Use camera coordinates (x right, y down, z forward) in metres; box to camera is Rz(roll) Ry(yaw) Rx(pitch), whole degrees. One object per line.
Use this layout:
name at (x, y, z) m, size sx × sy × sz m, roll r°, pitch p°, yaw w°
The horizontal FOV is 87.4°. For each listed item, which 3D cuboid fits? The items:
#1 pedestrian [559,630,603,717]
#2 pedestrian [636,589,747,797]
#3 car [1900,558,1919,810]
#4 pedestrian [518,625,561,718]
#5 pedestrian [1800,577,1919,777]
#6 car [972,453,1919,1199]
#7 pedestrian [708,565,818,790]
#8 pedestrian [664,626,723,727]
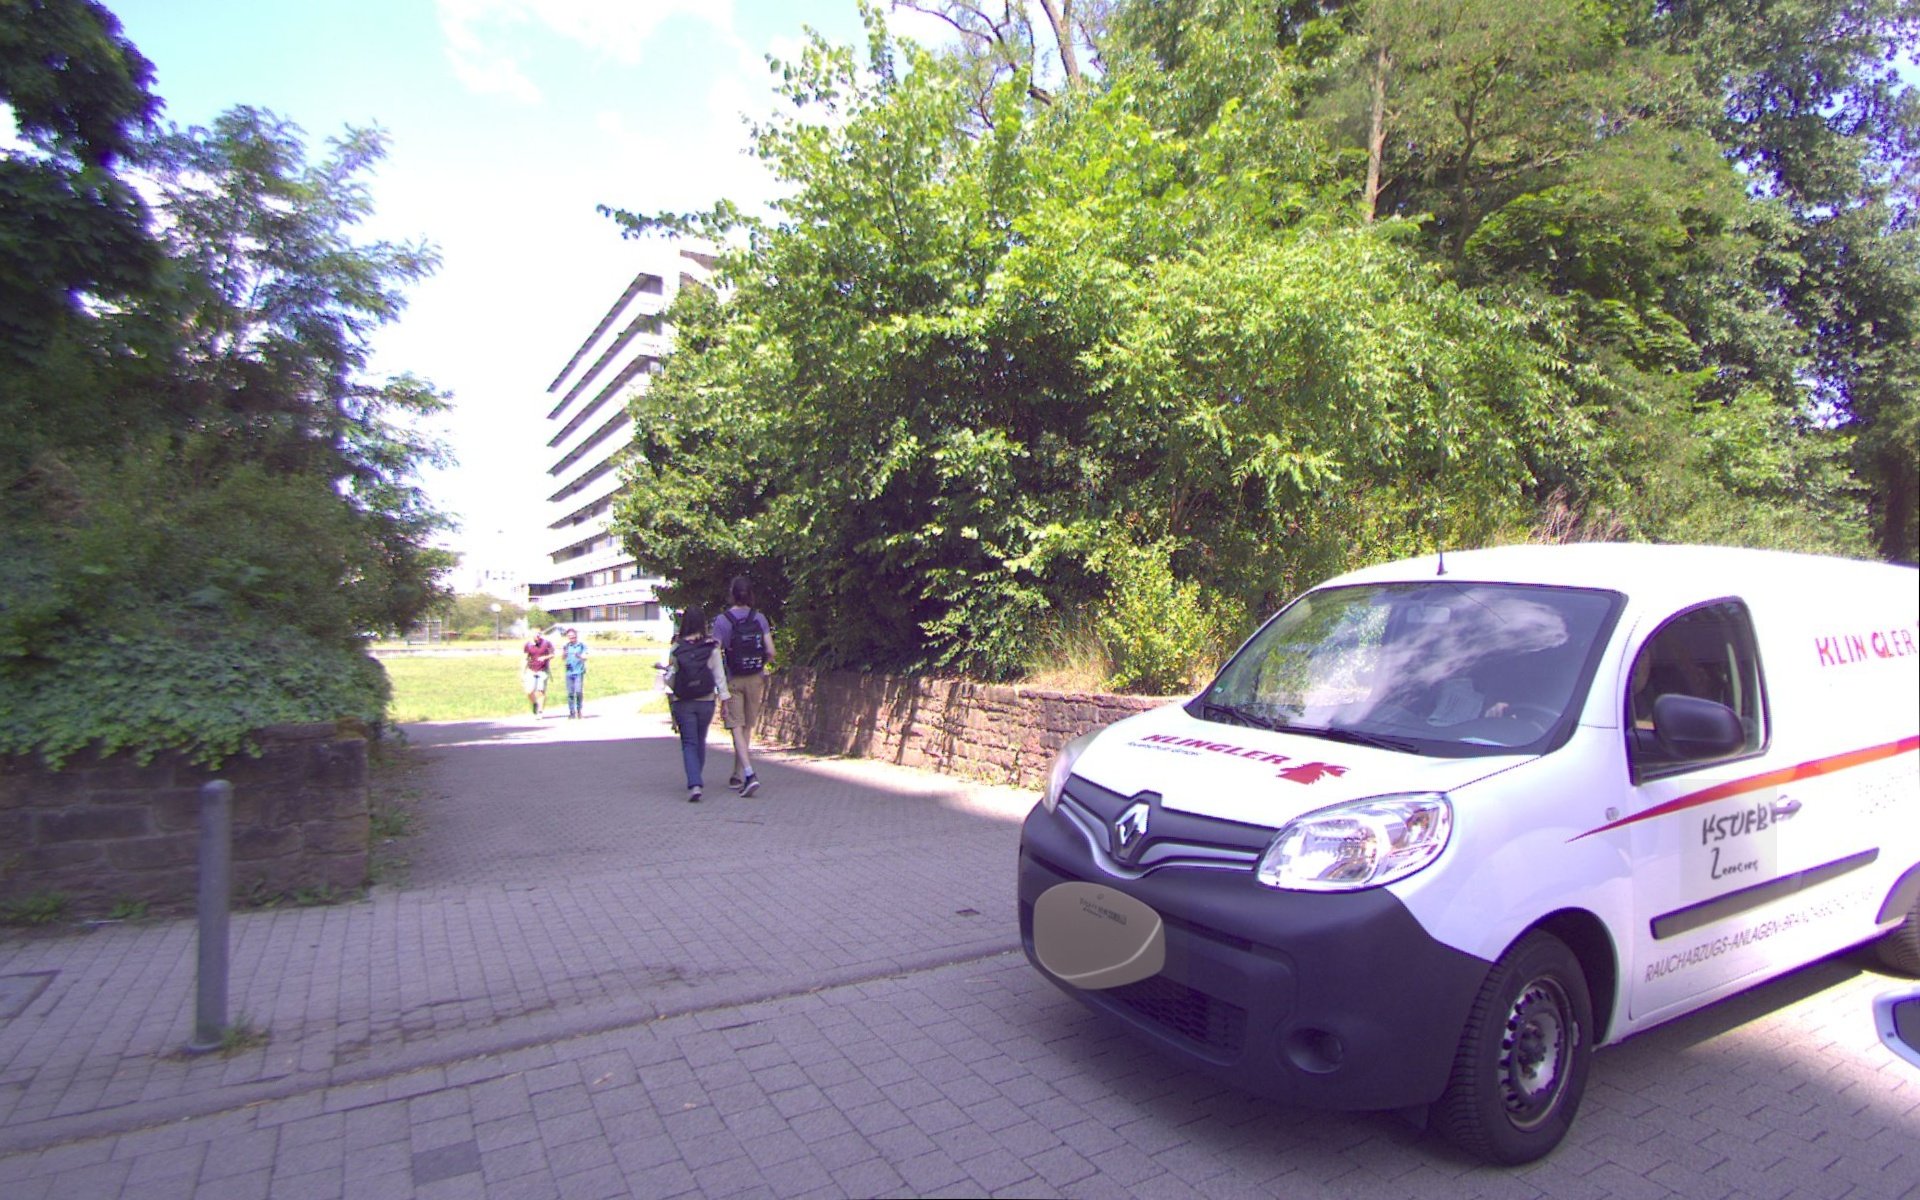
pedestrian at (-7.502, 1.444, 19.852) m, size 0.676 × 1.664 × 0.898 m, roll 2°, pitch -3°, yaw -28°
pedestrian at (-2.268, 0.772, 8.462) m, size 0.677 × 1.641 × 0.776 m, roll 2°, pitch -5°, yaw -33°
car at (10.241, 0.708, 8.623) m, size 5.156 × 2.000 × 1.874 m, roll 2°, pitch -2°, yaw -32°
pedestrian at (-8.329, 1.401, 19.865) m, size 0.673 × 1.778 × 0.898 m, roll 2°, pitch -3°, yaw -28°
pedestrian at (8.825, 0.734, 9.848) m, size 0.774 × 1.868 × 0.679 m, roll 2°, pitch -2°, yaw -31°
car at (2.394, 0.633, 4.163) m, size 4.429 × 1.785 × 1.782 m, roll 1°, pitch -2°, yaw -31°
pedestrian at (-1.756, 0.673, 8.908) m, size 0.677 × 1.868 × 0.821 m, roll 2°, pitch -4°, yaw -33°
pedestrian at (-4.522, 1.285, 17.025) m, size 0.678 × 1.664 × 0.896 m, roll 3°, pitch -4°, yaw -36°
